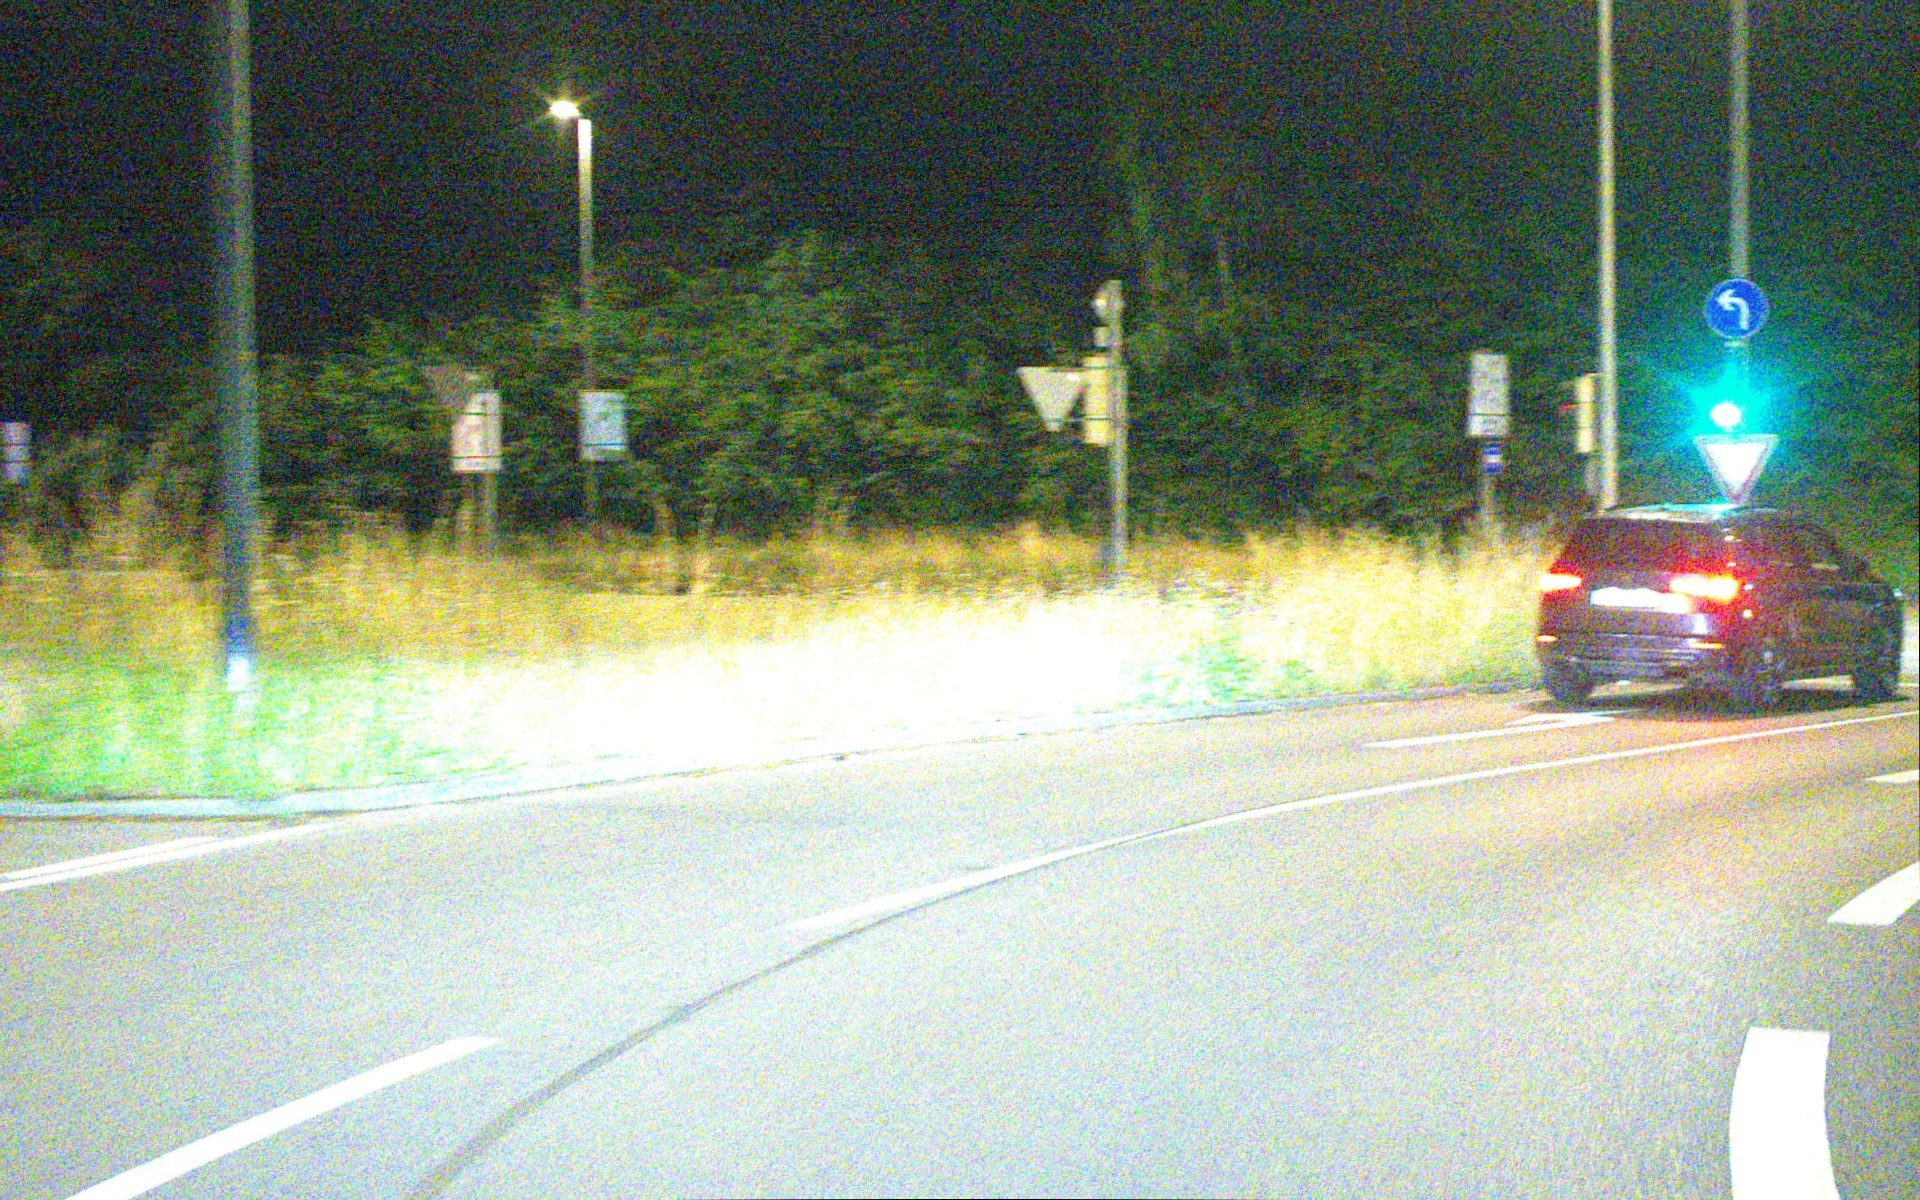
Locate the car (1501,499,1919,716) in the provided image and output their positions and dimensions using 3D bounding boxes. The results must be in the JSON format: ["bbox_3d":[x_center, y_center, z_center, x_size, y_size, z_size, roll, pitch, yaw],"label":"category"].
[{"bbox_3d":[6.154,-0.001,27.737,1.856,1.577,3.998,3,3,36],"label":"car"}]
